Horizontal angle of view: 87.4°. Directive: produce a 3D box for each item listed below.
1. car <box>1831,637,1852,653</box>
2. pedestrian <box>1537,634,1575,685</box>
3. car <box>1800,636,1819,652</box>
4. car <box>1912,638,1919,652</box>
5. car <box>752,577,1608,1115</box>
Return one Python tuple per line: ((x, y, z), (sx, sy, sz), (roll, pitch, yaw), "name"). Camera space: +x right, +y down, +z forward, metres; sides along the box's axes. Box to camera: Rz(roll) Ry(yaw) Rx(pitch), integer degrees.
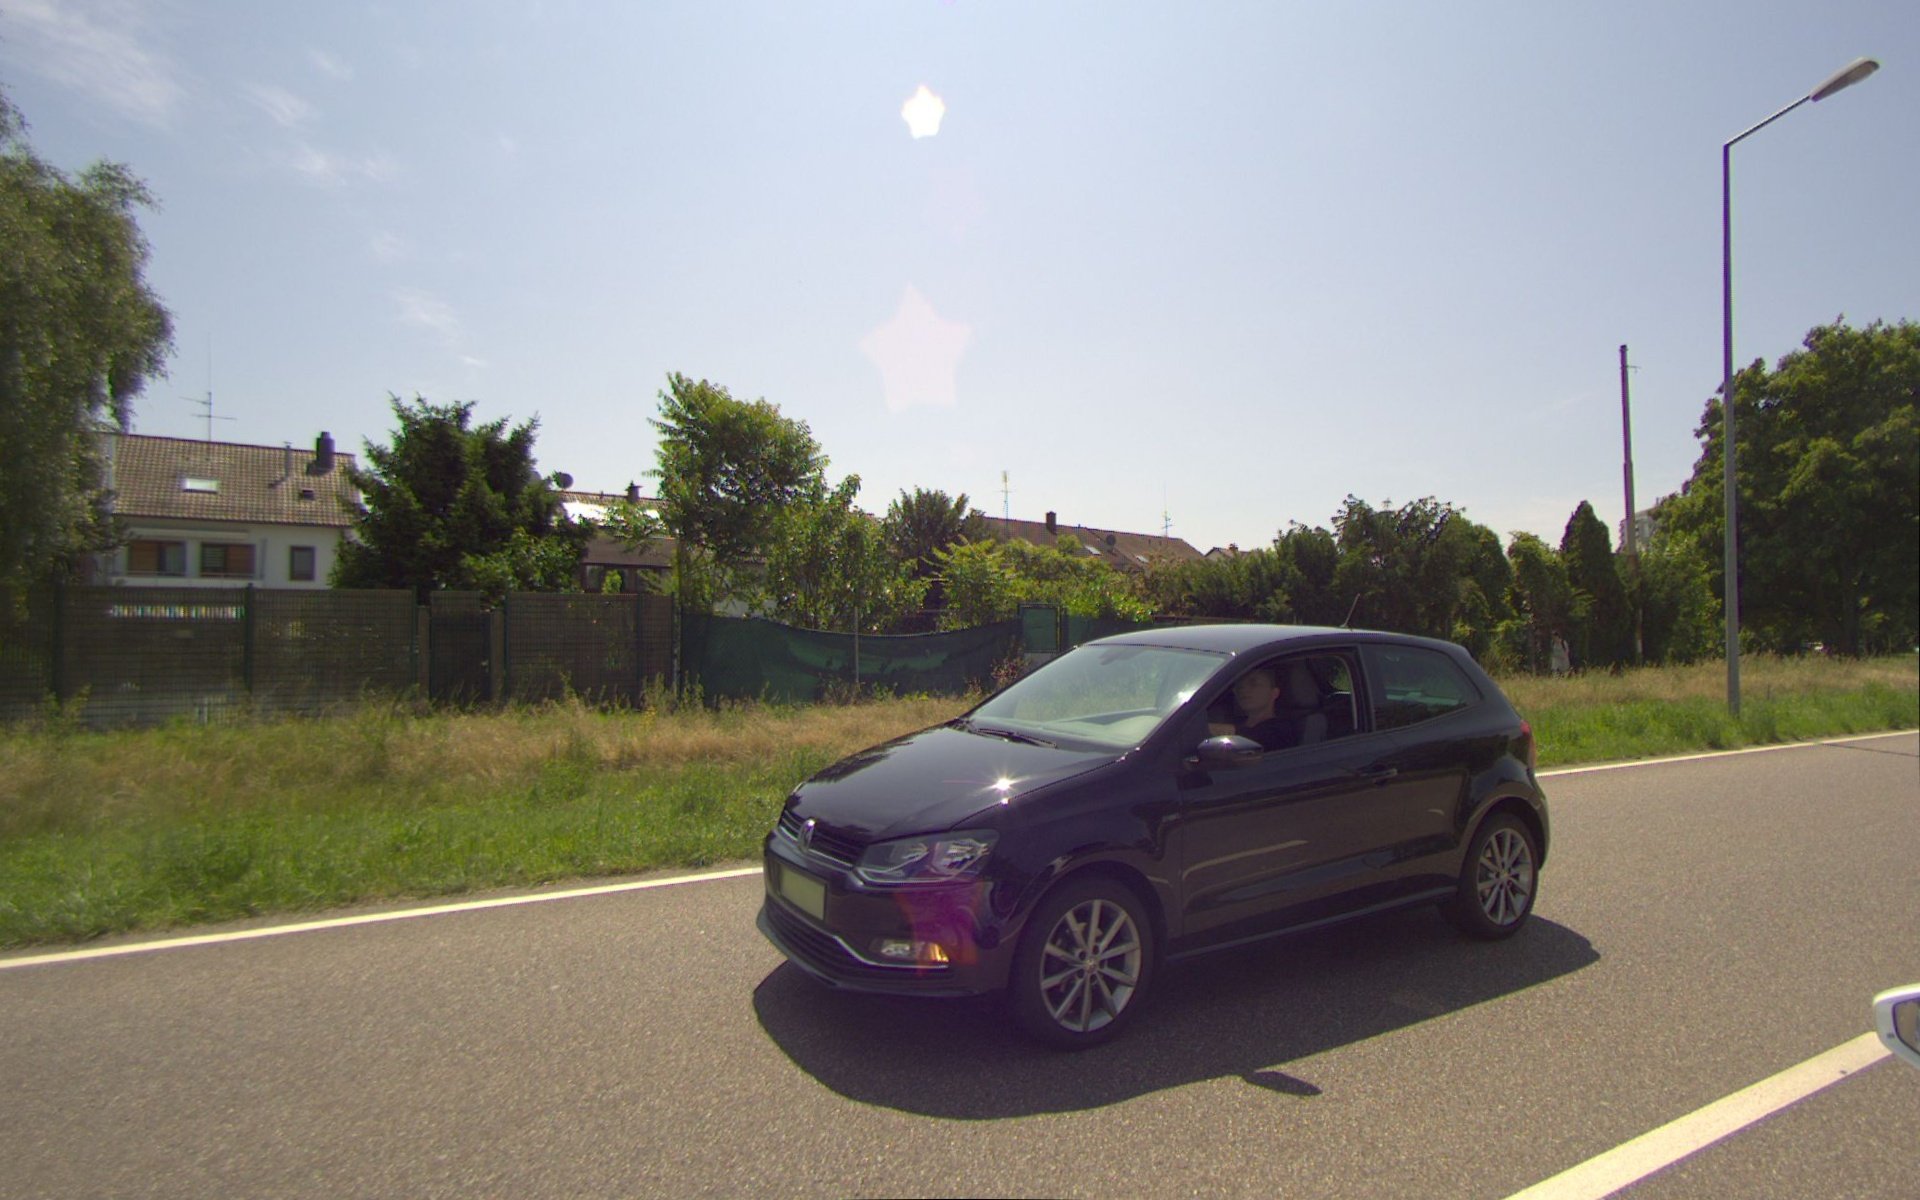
((109.765, 5.557, 125.046), (1.824, 1.973, 3.981), (-1, -2, 40), "car")
((16.605, 1.646, 27.984), (0.788, 1.373, 0.578), (1, -1, -28), "pedestrian")
((107.736, 5.599, 127.424), (1.824, 1.973, 3.981), (-1, -2, 40), "car")
((115.828, 5.391, 120.859), (1.669, 1.583, 3.820), (-2, -3, 40), "car")
((1.182, 0.780, 4.748), (3.923, 1.590, 1.675), (1, -2, -32), "car")
